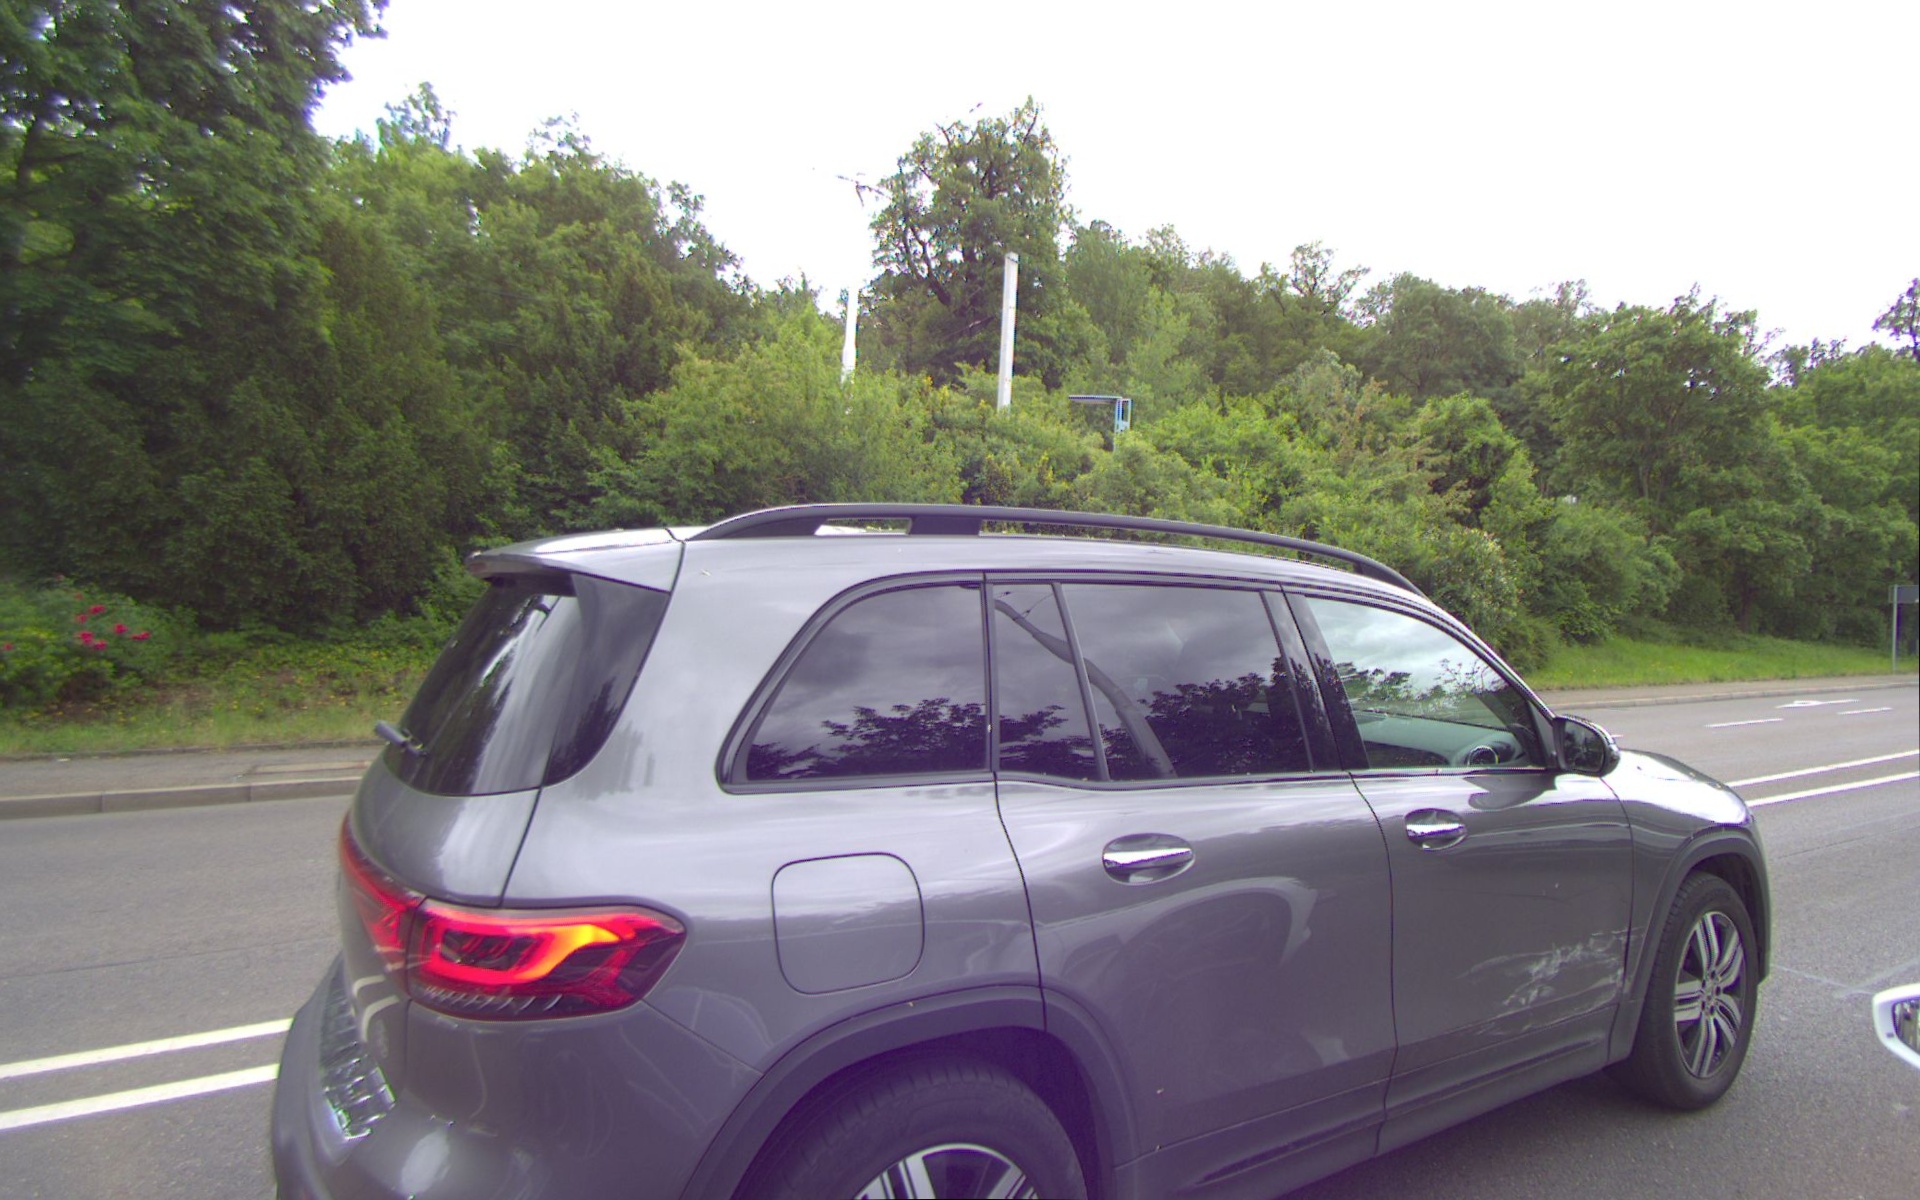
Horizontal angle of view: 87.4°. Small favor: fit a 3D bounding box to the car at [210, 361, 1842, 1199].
[{"bbox_3d":[0.596,0.647,2.945,4.309,1.673,1.839,2,-1,-32],"label":"car"}]
